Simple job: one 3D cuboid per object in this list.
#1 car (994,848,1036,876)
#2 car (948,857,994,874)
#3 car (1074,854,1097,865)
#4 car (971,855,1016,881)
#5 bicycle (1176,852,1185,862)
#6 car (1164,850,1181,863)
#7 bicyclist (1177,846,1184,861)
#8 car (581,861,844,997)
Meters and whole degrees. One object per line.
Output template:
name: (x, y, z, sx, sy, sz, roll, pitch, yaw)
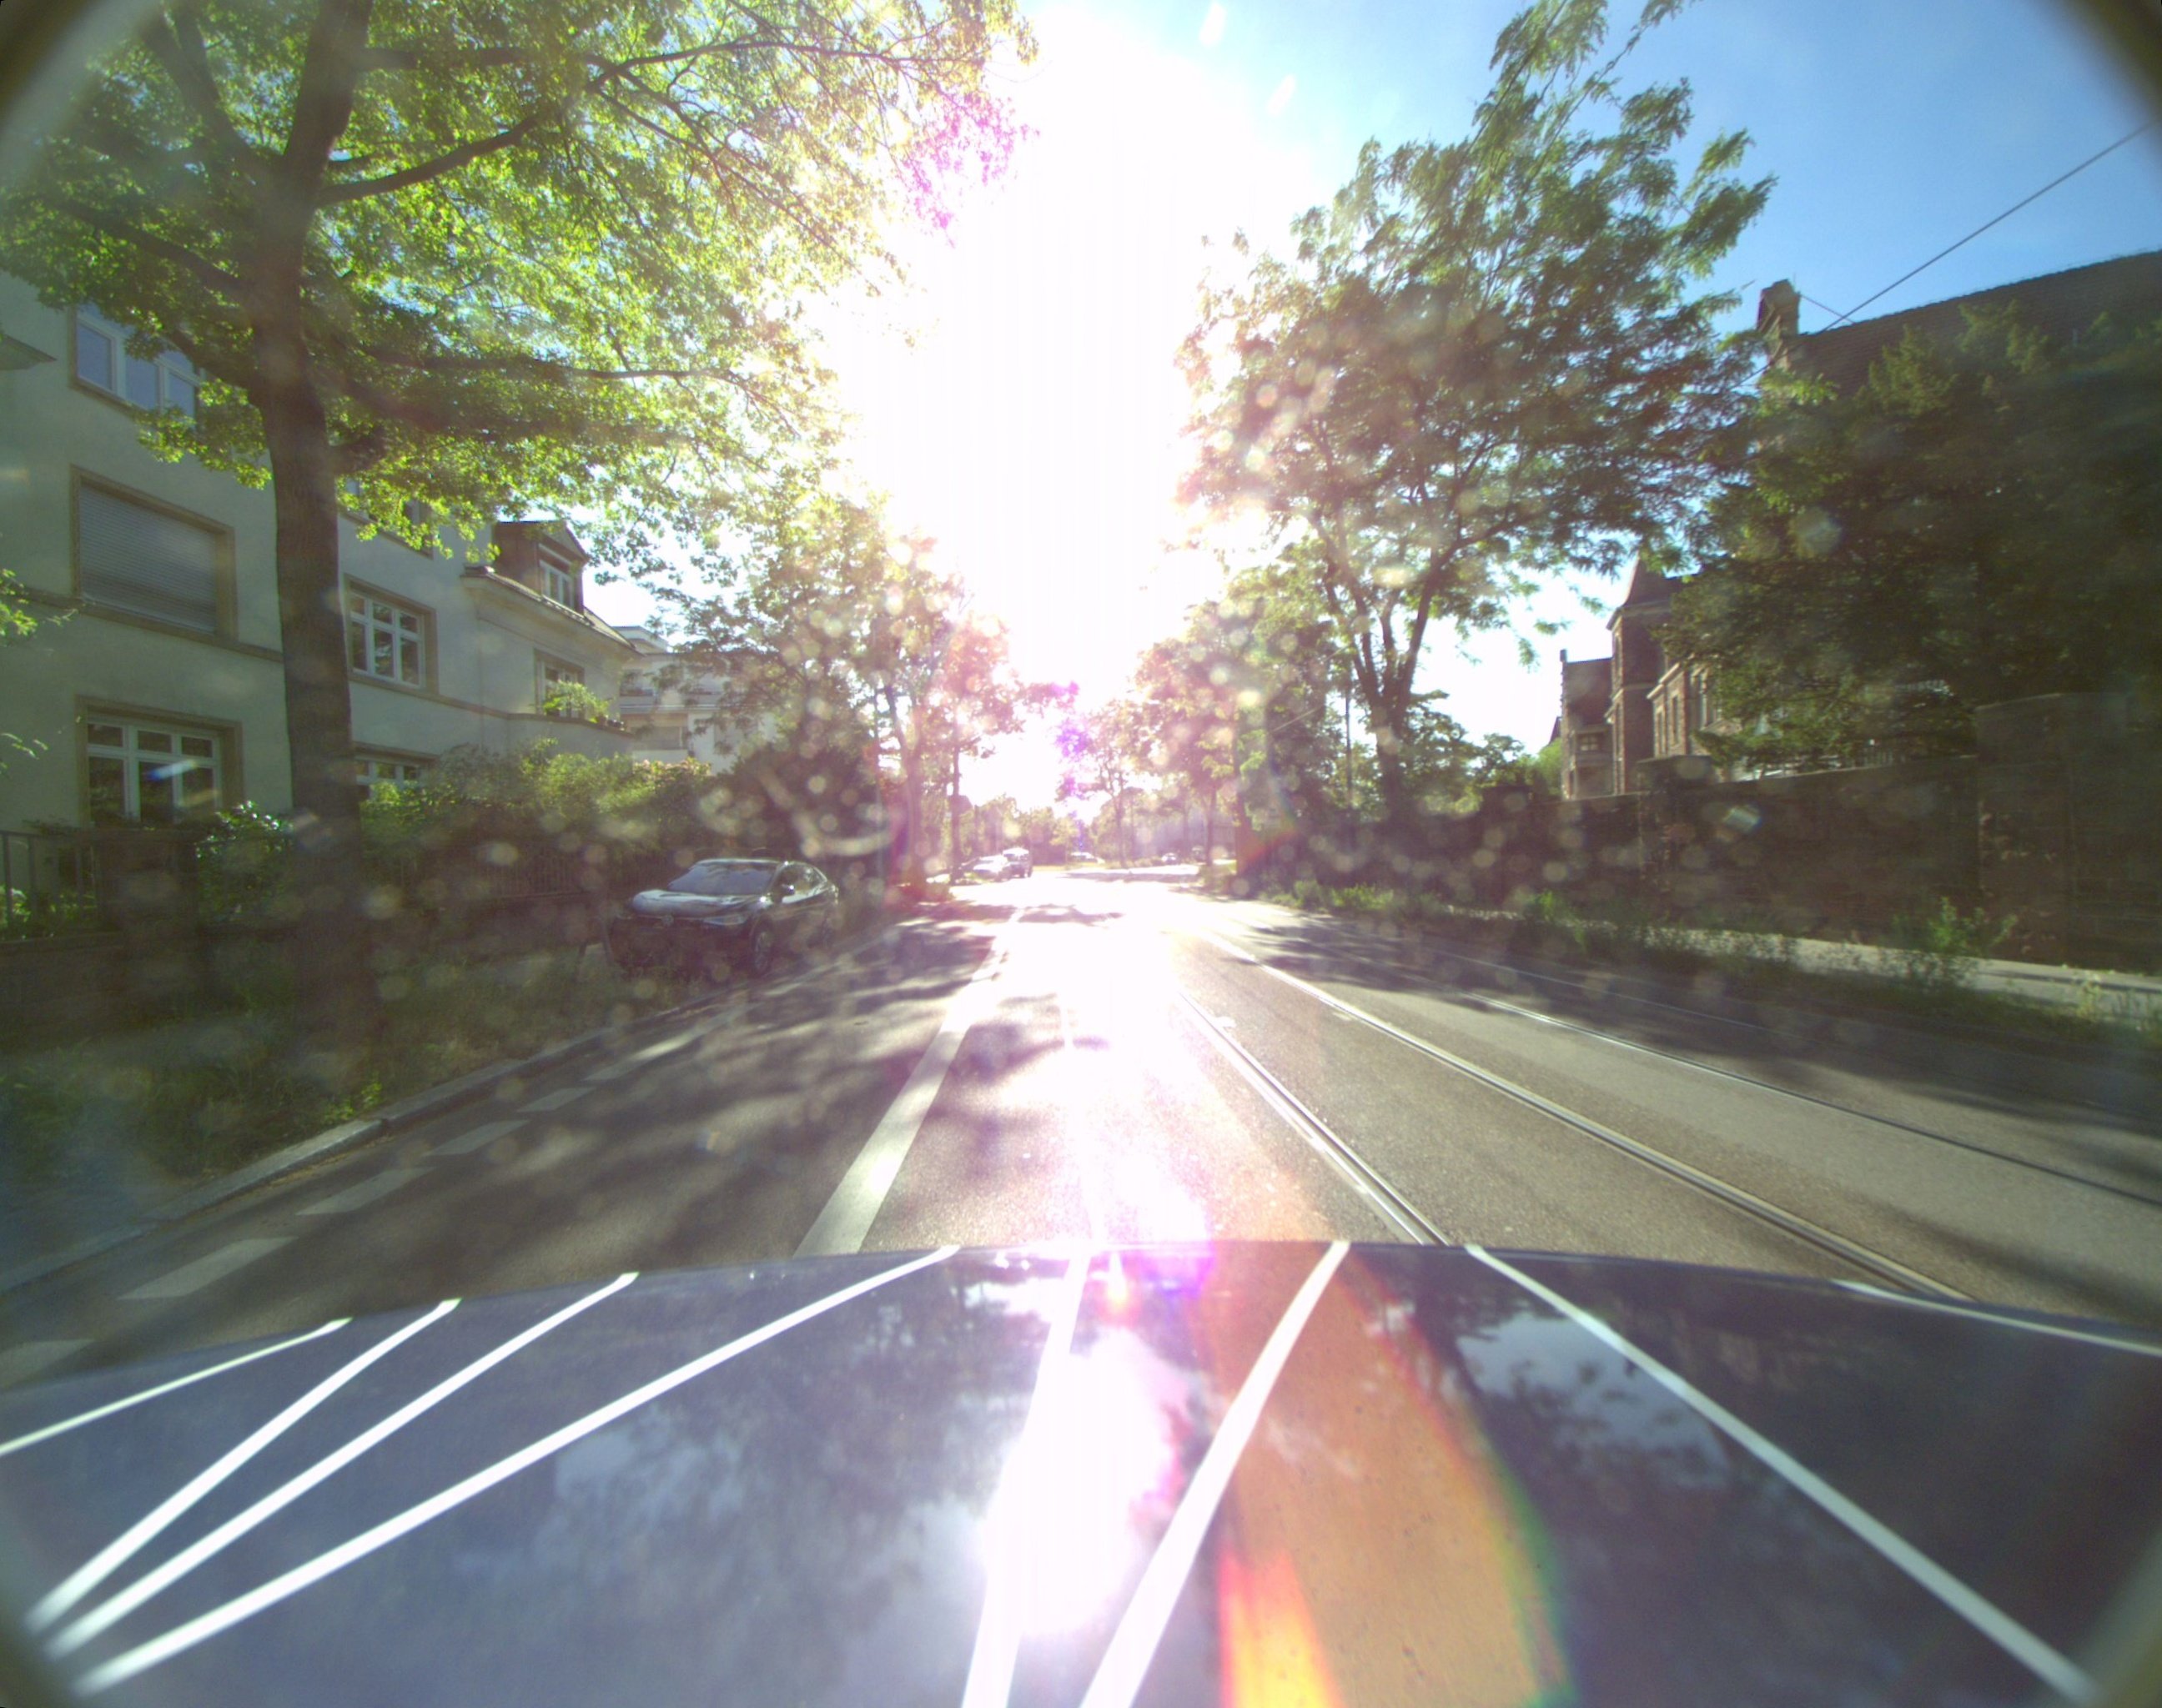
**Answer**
car: (-4.419, 0.501, 51.693, 1.900, 1.775, 4.670, -1, 0, 6)
car: (-10.062, 1.039, 69.542, 3.998, 1.433, 1.813, -2, 0, -3)
car: (0.721, 0.904, 128.794, 3.908, 1.683, 1.905, -1, 1, -1)
car: (-5.181, 0.790, 45.338, 1.901, 1.402, 4.260, -1, 0, 4)
bicycle: (11.601, 0.353, 88.771, 0.588, 1.105, 1.857, -1, 0, 19)
car: (11.889, 0.305, 98.728, 1.997, 1.539, 4.002, -2, 0, 8)
bicyclist: (11.590, -0.068, 88.774, 0.643, 1.632, 0.666, -2, 1, 19)
car: (-5.208, 0.947, 11.512, 1.919, 1.590, 4.258, 2, 0, -1)
